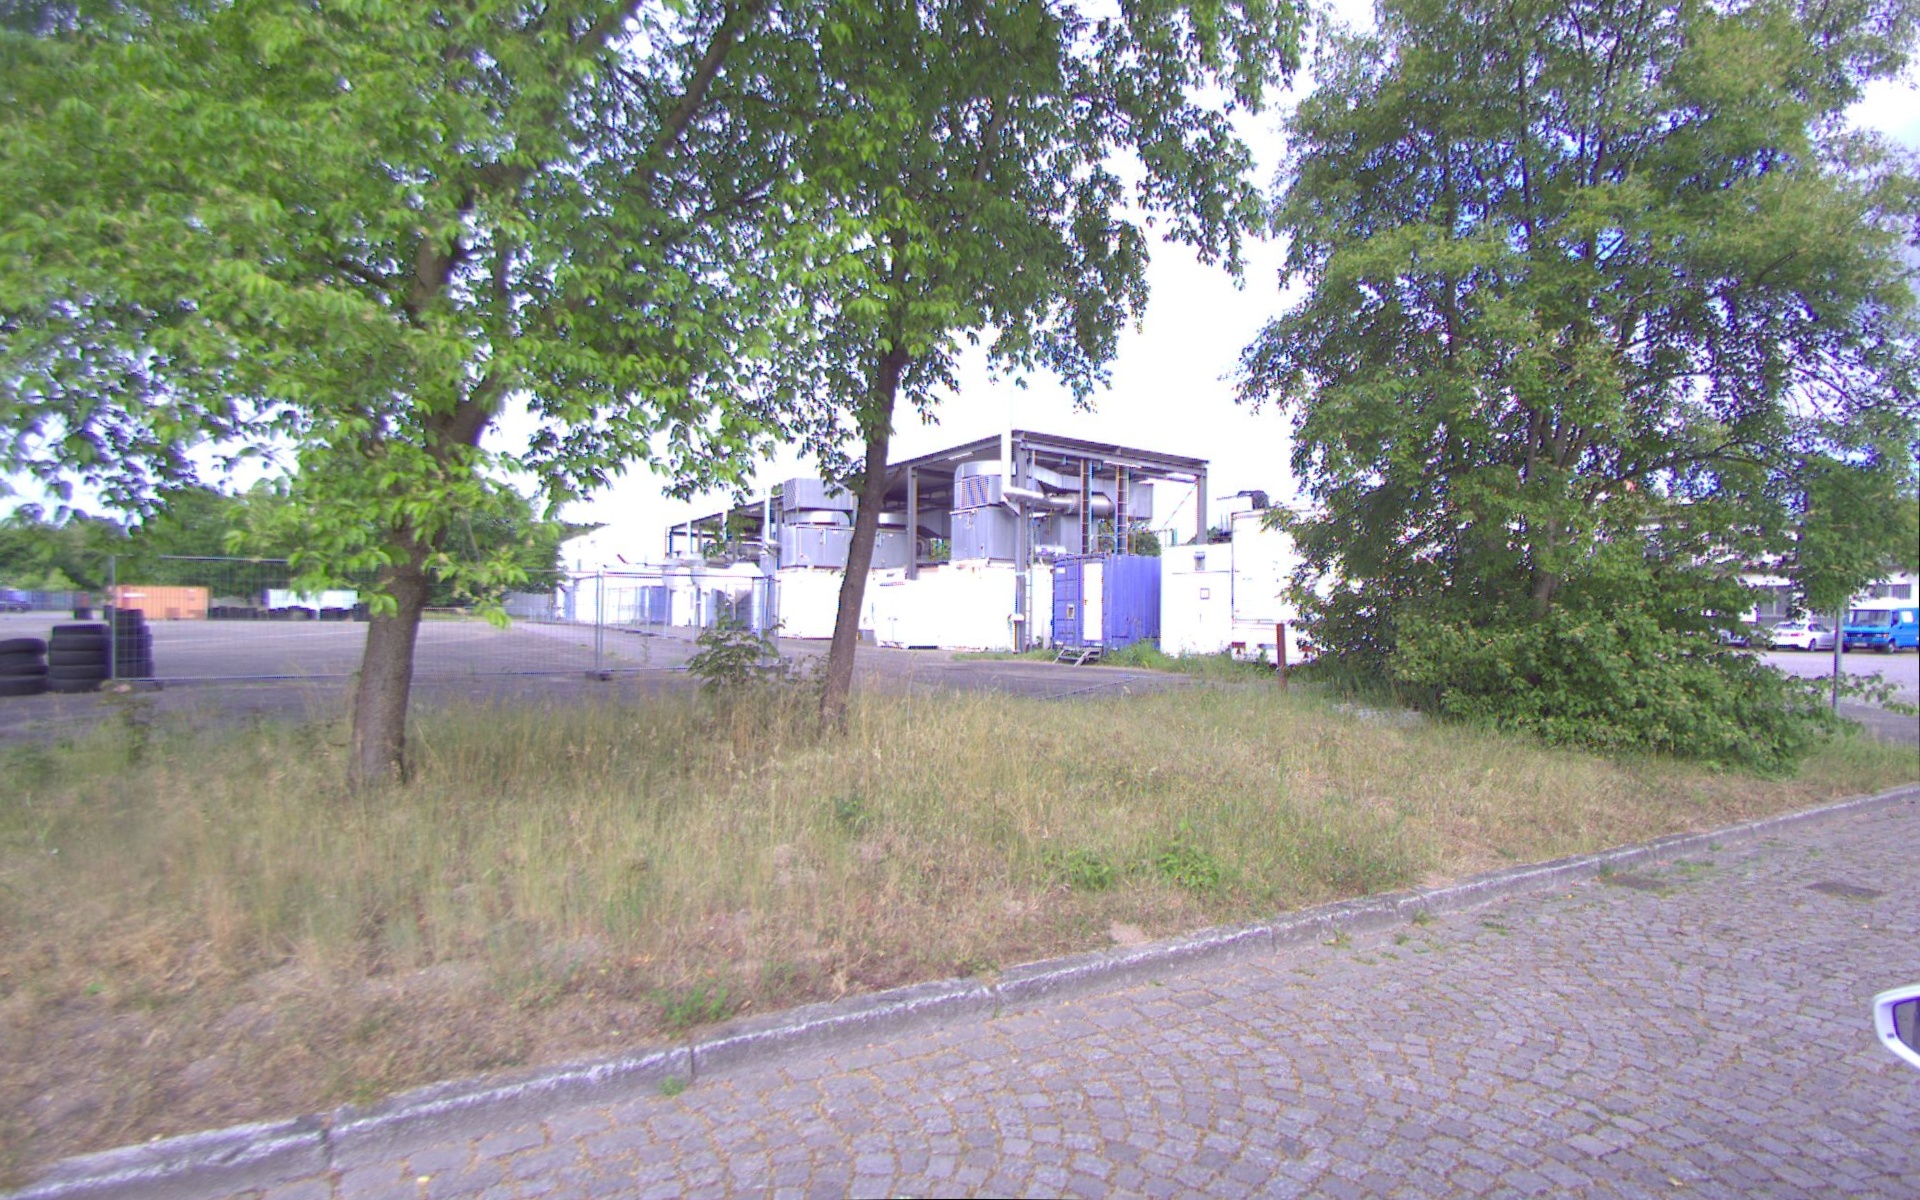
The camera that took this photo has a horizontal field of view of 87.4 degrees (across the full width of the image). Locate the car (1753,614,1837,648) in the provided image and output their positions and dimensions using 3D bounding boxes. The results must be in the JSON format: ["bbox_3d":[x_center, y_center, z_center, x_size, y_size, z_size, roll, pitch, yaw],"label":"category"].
[{"bbox_3d":[40.626,1.505,48.870,3.951,1.596,1.892,1,-1,-29],"label":"car"}]

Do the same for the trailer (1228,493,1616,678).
[{"bbox_3d":[11.315,-0.209,24.045,10.587,3.755,2.646,1,-1,-28],"label":"trailer"}]

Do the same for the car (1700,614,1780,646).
[{"bbox_3d":[40.155,1.524,51.681,3.951,1.596,1.892,1,-1,-29],"label":"car"}]

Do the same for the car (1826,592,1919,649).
[{"bbox_3d":[43.110,0.979,47.038,5.545,2.557,1.986,1,-1,-27],"label":"car"}]

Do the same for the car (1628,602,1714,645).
[{"bbox_3d":[38.274,1.270,54.055,4.722,2.236,1.893,1,-1,-28],"label":"car"}]
